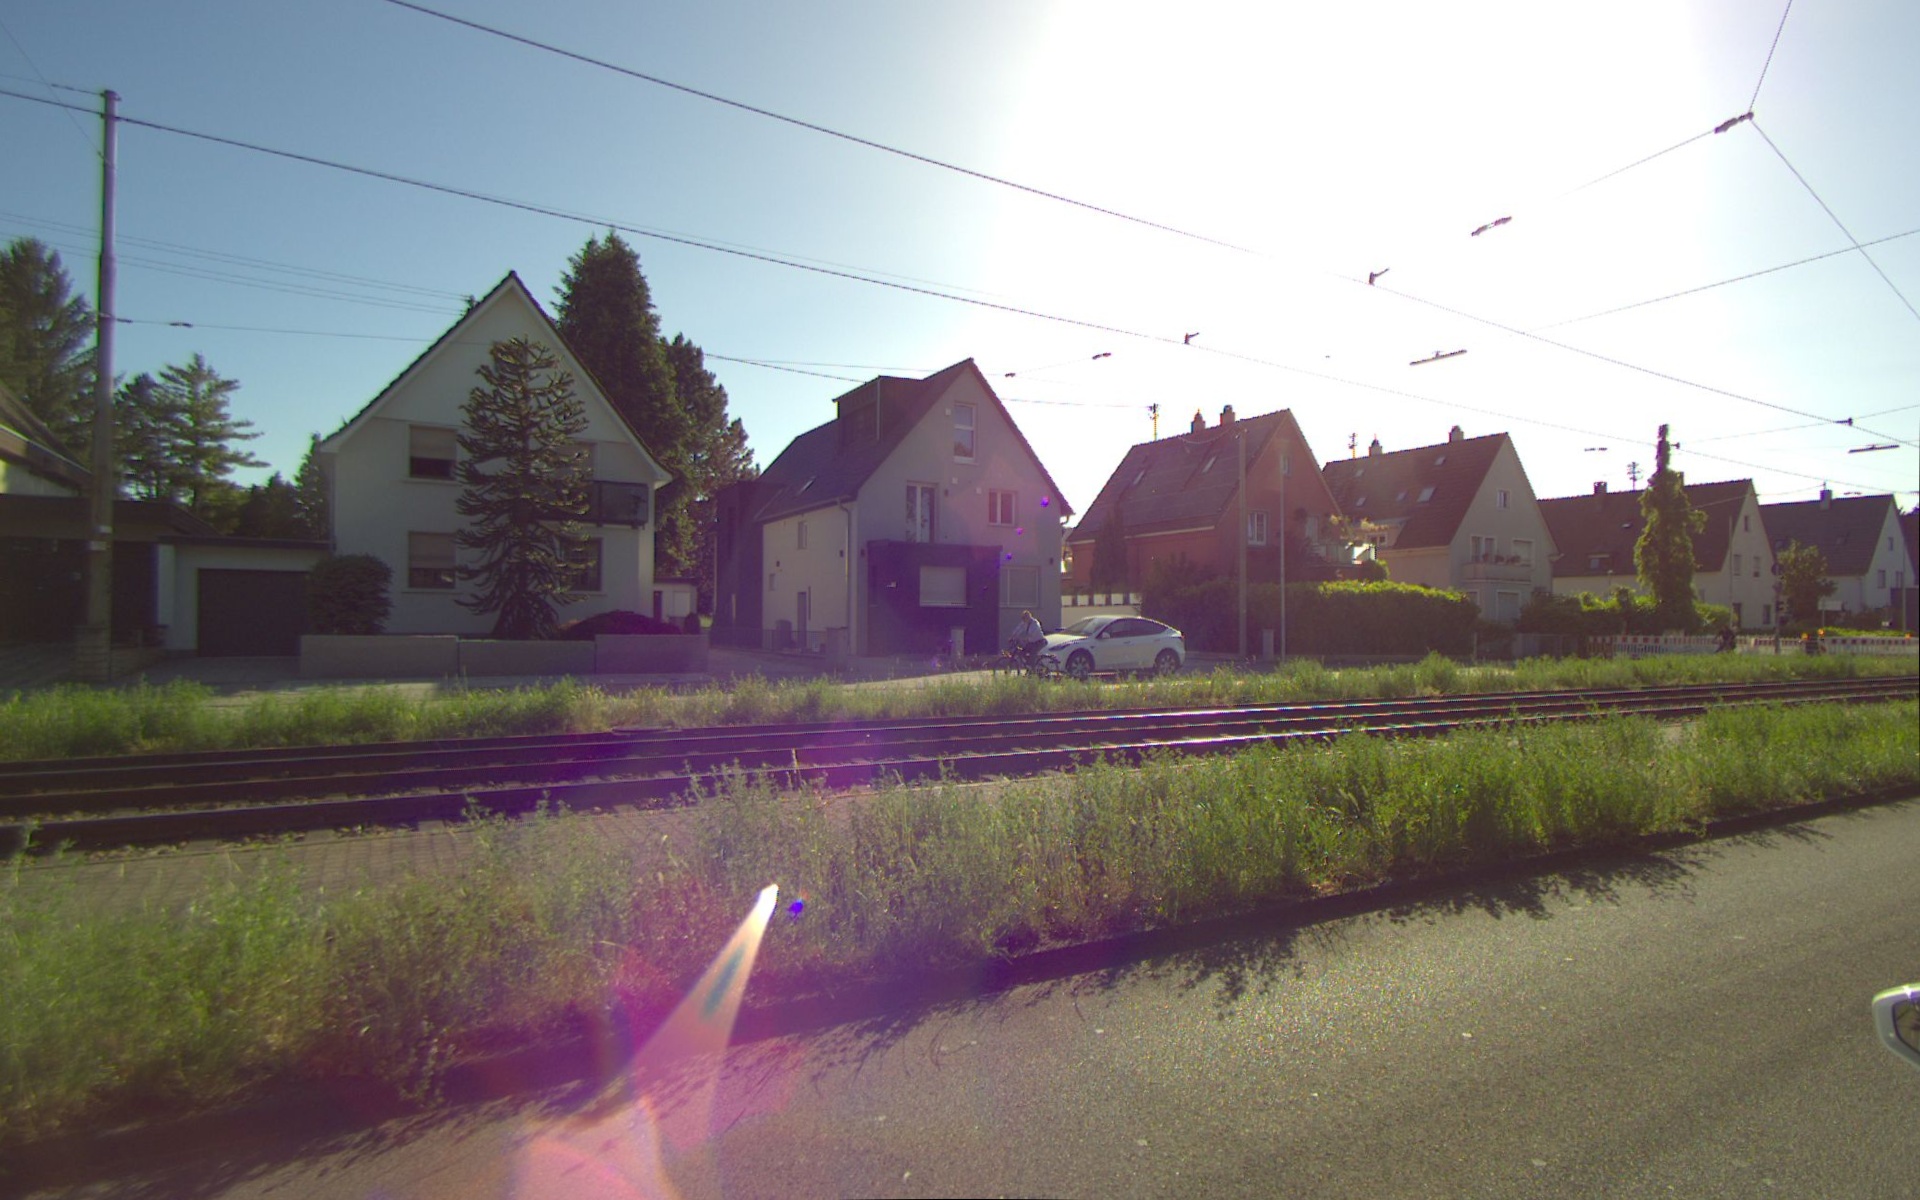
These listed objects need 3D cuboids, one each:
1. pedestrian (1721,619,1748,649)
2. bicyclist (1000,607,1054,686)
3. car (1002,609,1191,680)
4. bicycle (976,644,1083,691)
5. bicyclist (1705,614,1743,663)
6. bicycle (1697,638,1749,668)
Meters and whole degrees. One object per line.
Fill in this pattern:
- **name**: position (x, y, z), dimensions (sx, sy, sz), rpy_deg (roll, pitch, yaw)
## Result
- **pedestrian**: position (41.030, 1.775, 53.191), dimensions (0.800, 1.555, 0.792), rpy_deg (-1, 0, -14)
- **bicyclist**: position (1.482, 1.011, 22.182), dimensions (0.827, 1.696, 0.847), rpy_deg (2, 0, -30)
- **car**: position (3.668, 1.167, 26.731), dimensions (4.782, 1.700, 1.984), rpy_deg (2, 0, -30)
- **bicycle**: position (1.545, 1.478, 22.228), dimensions (2.282, 0.964, 0.847), rpy_deg (2, 0, -30)
- **bicyclist**: position (30.795, 1.537, 40.466), dimensions (1.059, 1.912, 0.847), rpy_deg (2, 0, -30)
- **bicycle**: position (30.723, 2.139, 40.436), dimensions (2.282, 1.149, 0.847), rpy_deg (2, 0, -30)
